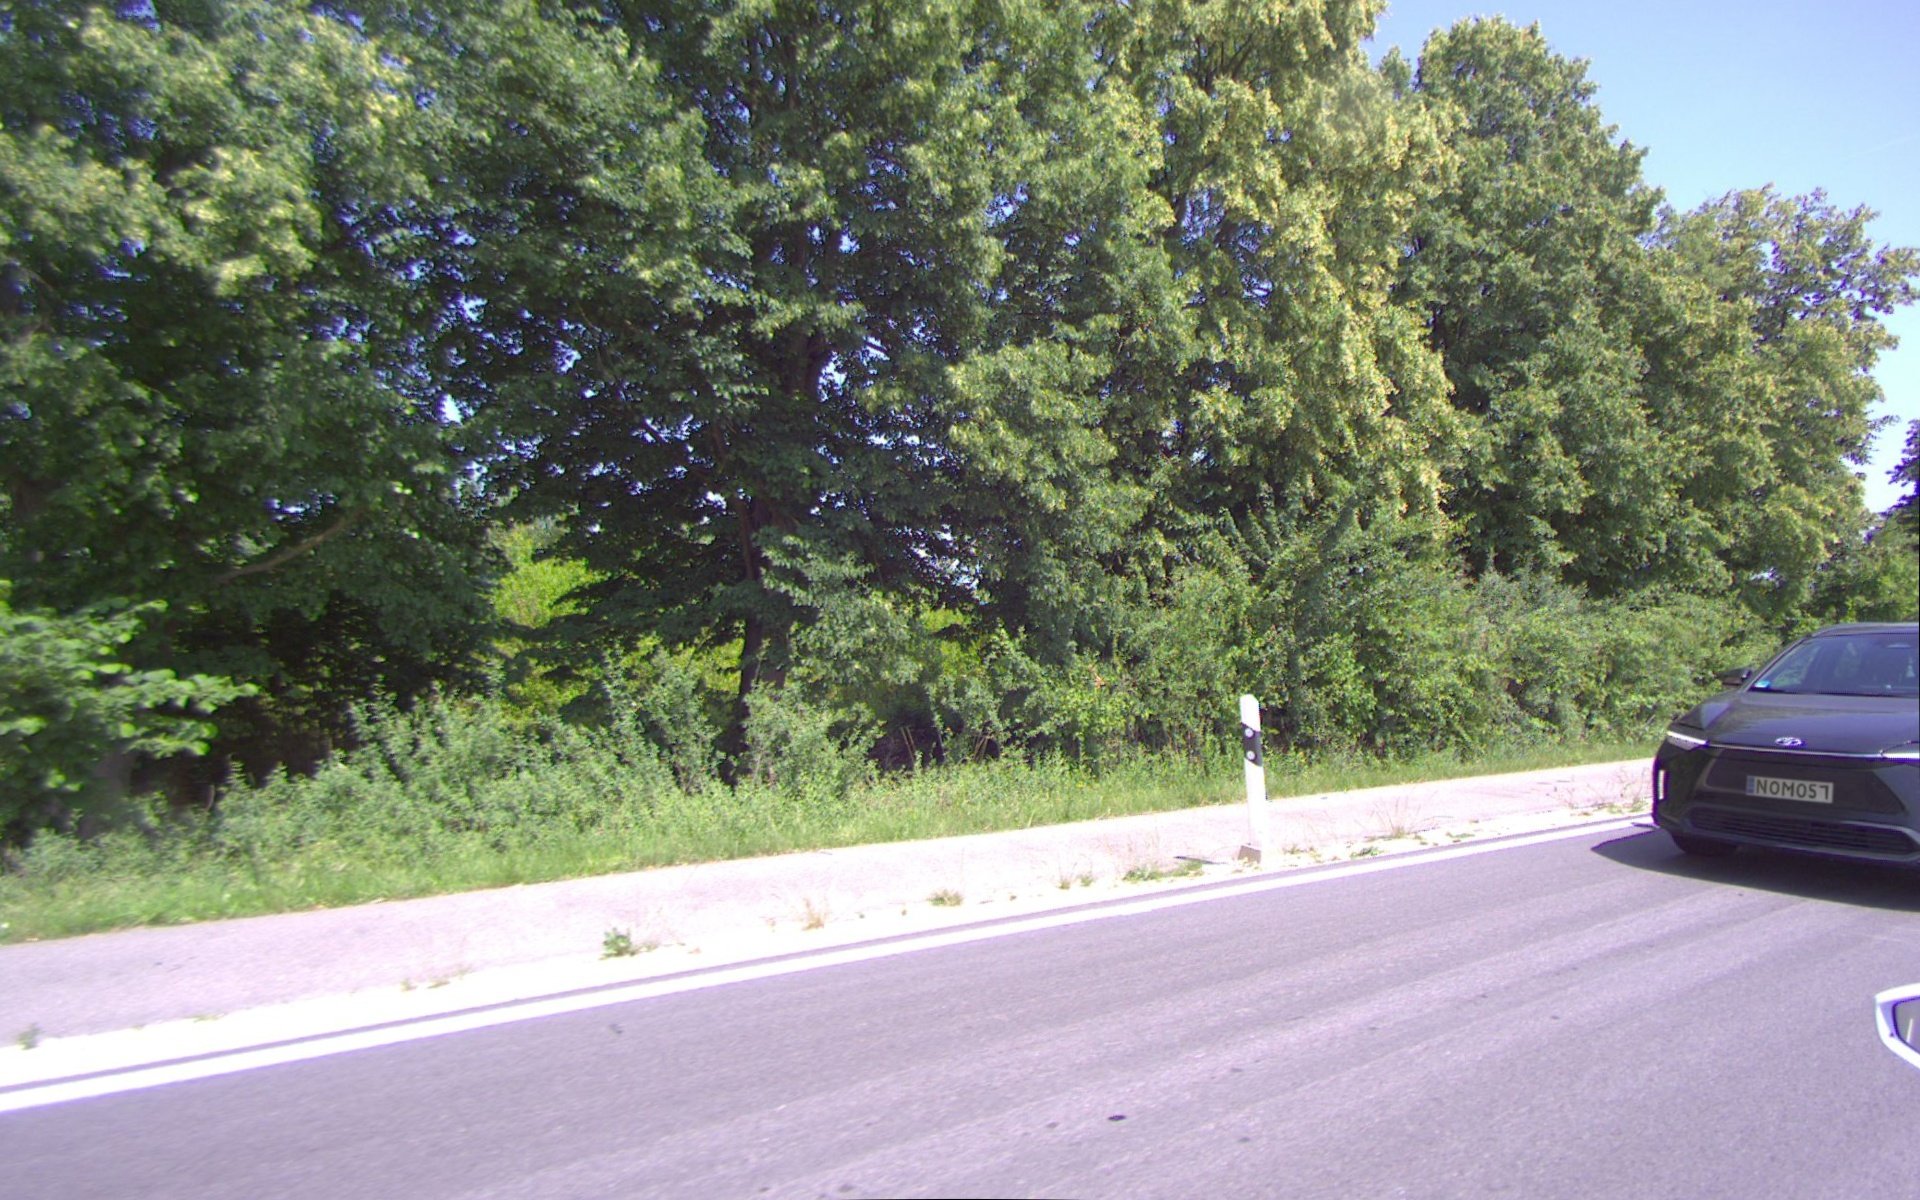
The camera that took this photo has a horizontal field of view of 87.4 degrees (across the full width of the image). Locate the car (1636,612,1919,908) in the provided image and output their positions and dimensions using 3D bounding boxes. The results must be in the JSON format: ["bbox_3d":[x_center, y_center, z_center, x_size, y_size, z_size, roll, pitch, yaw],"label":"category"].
[{"bbox_3d":[6.831,0.920,6.997,4.427,1.594,1.784,1,-2,-31],"label":"car"}]
